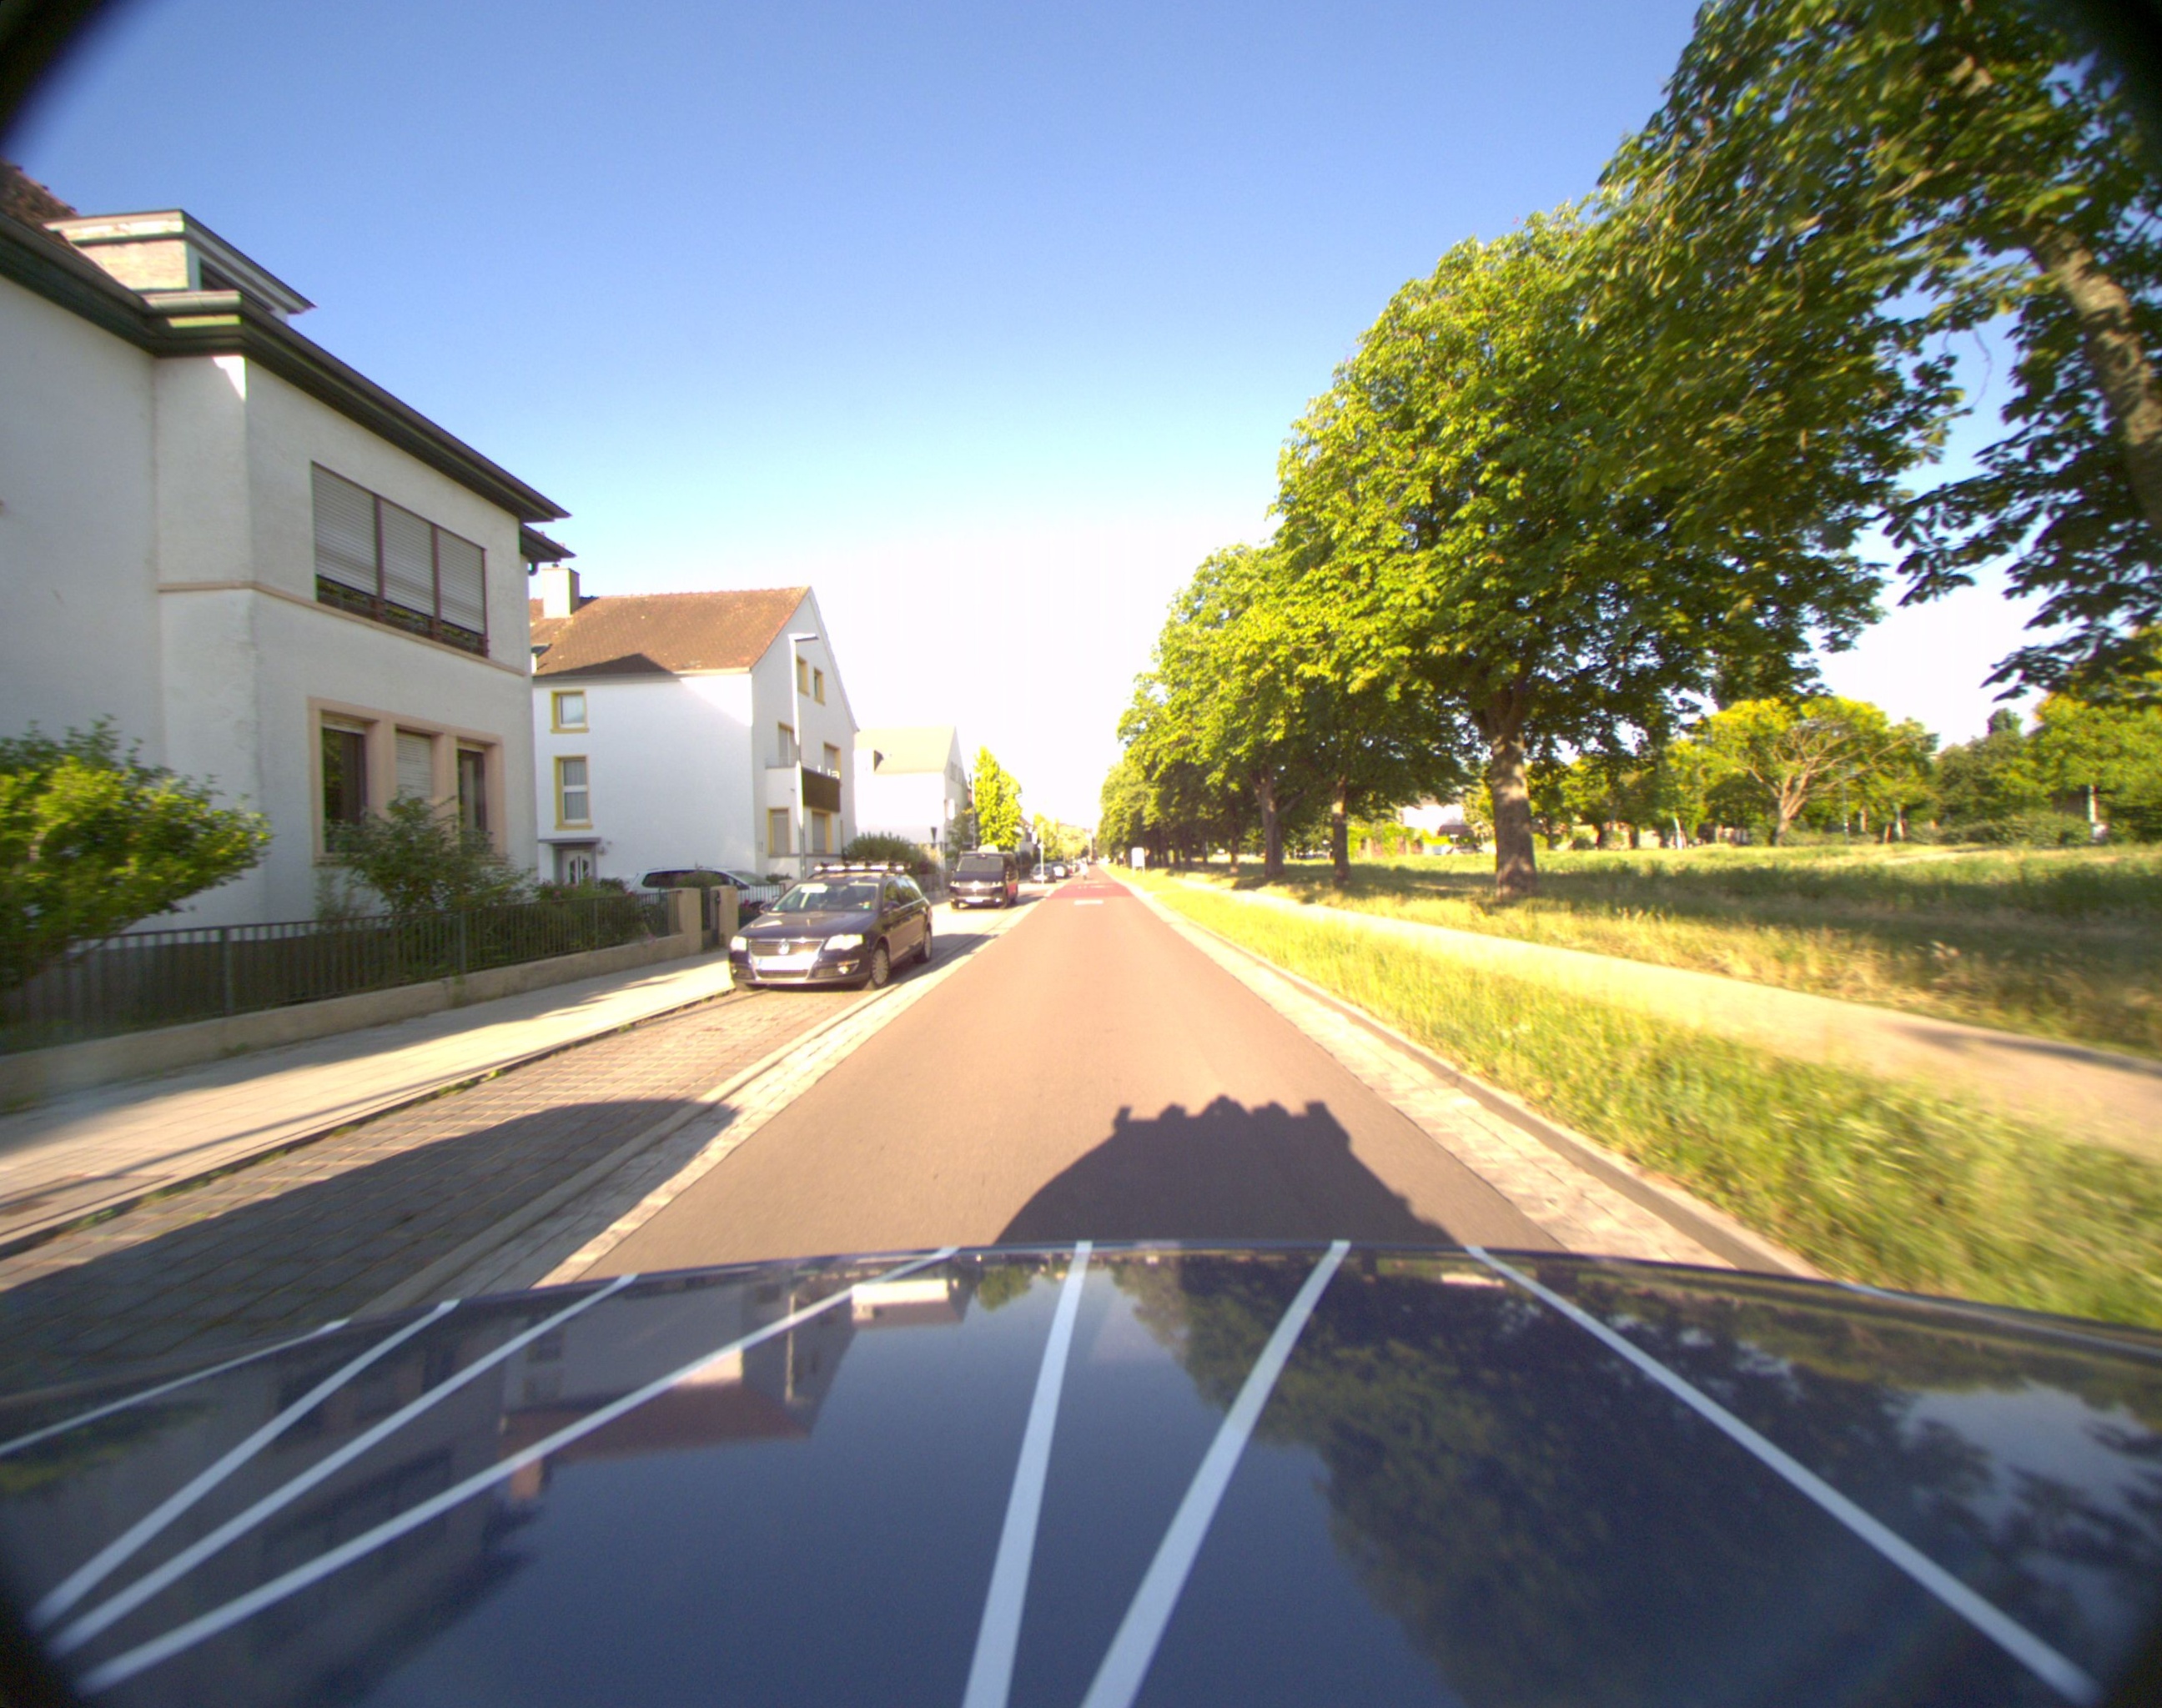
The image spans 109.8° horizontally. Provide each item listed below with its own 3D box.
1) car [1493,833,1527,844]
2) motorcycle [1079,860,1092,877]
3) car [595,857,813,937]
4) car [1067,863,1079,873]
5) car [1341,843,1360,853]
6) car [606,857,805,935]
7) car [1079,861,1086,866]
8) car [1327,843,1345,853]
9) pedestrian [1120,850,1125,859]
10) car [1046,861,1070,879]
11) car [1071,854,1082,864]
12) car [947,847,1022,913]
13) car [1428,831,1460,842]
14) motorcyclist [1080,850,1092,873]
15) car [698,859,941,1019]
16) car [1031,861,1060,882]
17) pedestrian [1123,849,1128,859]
[{"bbox_3d":[58.801,-2.091,104.212,3.636,1.273,1.586,-3,0,2],"label":"car"},{"bbox_3d":[0.381,1.210,65.809,1.077,1.373,2.463,-3,0,0],"label":"motorcycle"},{"bbox_3d":[-8.862,0.975,18.146,4.228,1.716,1.853,-1,0,-2],"label":"car"},{"bbox_3d":[-1.316,2.282,124.422,1.745,1.471,4.057,-2,0,0],"label":"car"},{"bbox_3d":[44.301,-0.964,124.986,1.766,1.619,4.000,-3,0,1],"label":"car"},{"bbox_3d":[-9.757,1.055,20.035,4.228,1.716,1.853,-3,0,-2],"label":"car"},{"bbox_3d":[0.523,2.627,210.037,1.844,1.471,3.764,-2,0,0],"label":"car"},{"bbox_3d":[38.251,-0.891,113.951,1.585,1.473,3.640,-3,0,2],"label":"car"},{"bbox_3d":[7.976,0.079,146.040,0.625,1.621,0.606,-3,1,27],"label":"pedestrian"},{"bbox_3d":[-2.145,1.508,72.361,1.910,1.698,4.576,0,-1,3],"label":"car"},{"bbox_3d":[-0.734,0.738,113.923,1.508,1.471,3.493,-1,0,2],"label":"car"},{"bbox_3d":[-3.344,0.863,27.167,1.910,2.119,4.815,0,0,2],"label":"car"},{"bbox_3d":[49.555,-2.346,103.782,3.636,1.273,1.586,-3,0,2],"label":"car"},{"bbox_3d":[0.424,0.644,65.739,0.961,2.002,1.274,-3,0,0],"label":"motorcyclist"},{"bbox_3d":[-3.311,0.955,10.644,1.798,1.760,4.473,0,0,1],"label":"car"},{"bbox_3d":[-2.630,1.302,57.221,1.798,1.473,4.125,1,-1,2],"label":"car"},{"bbox_3d":[8.467,-0.028,145.238,0.625,1.840,0.606,-2,1,40],"label":"pedestrian"}]
